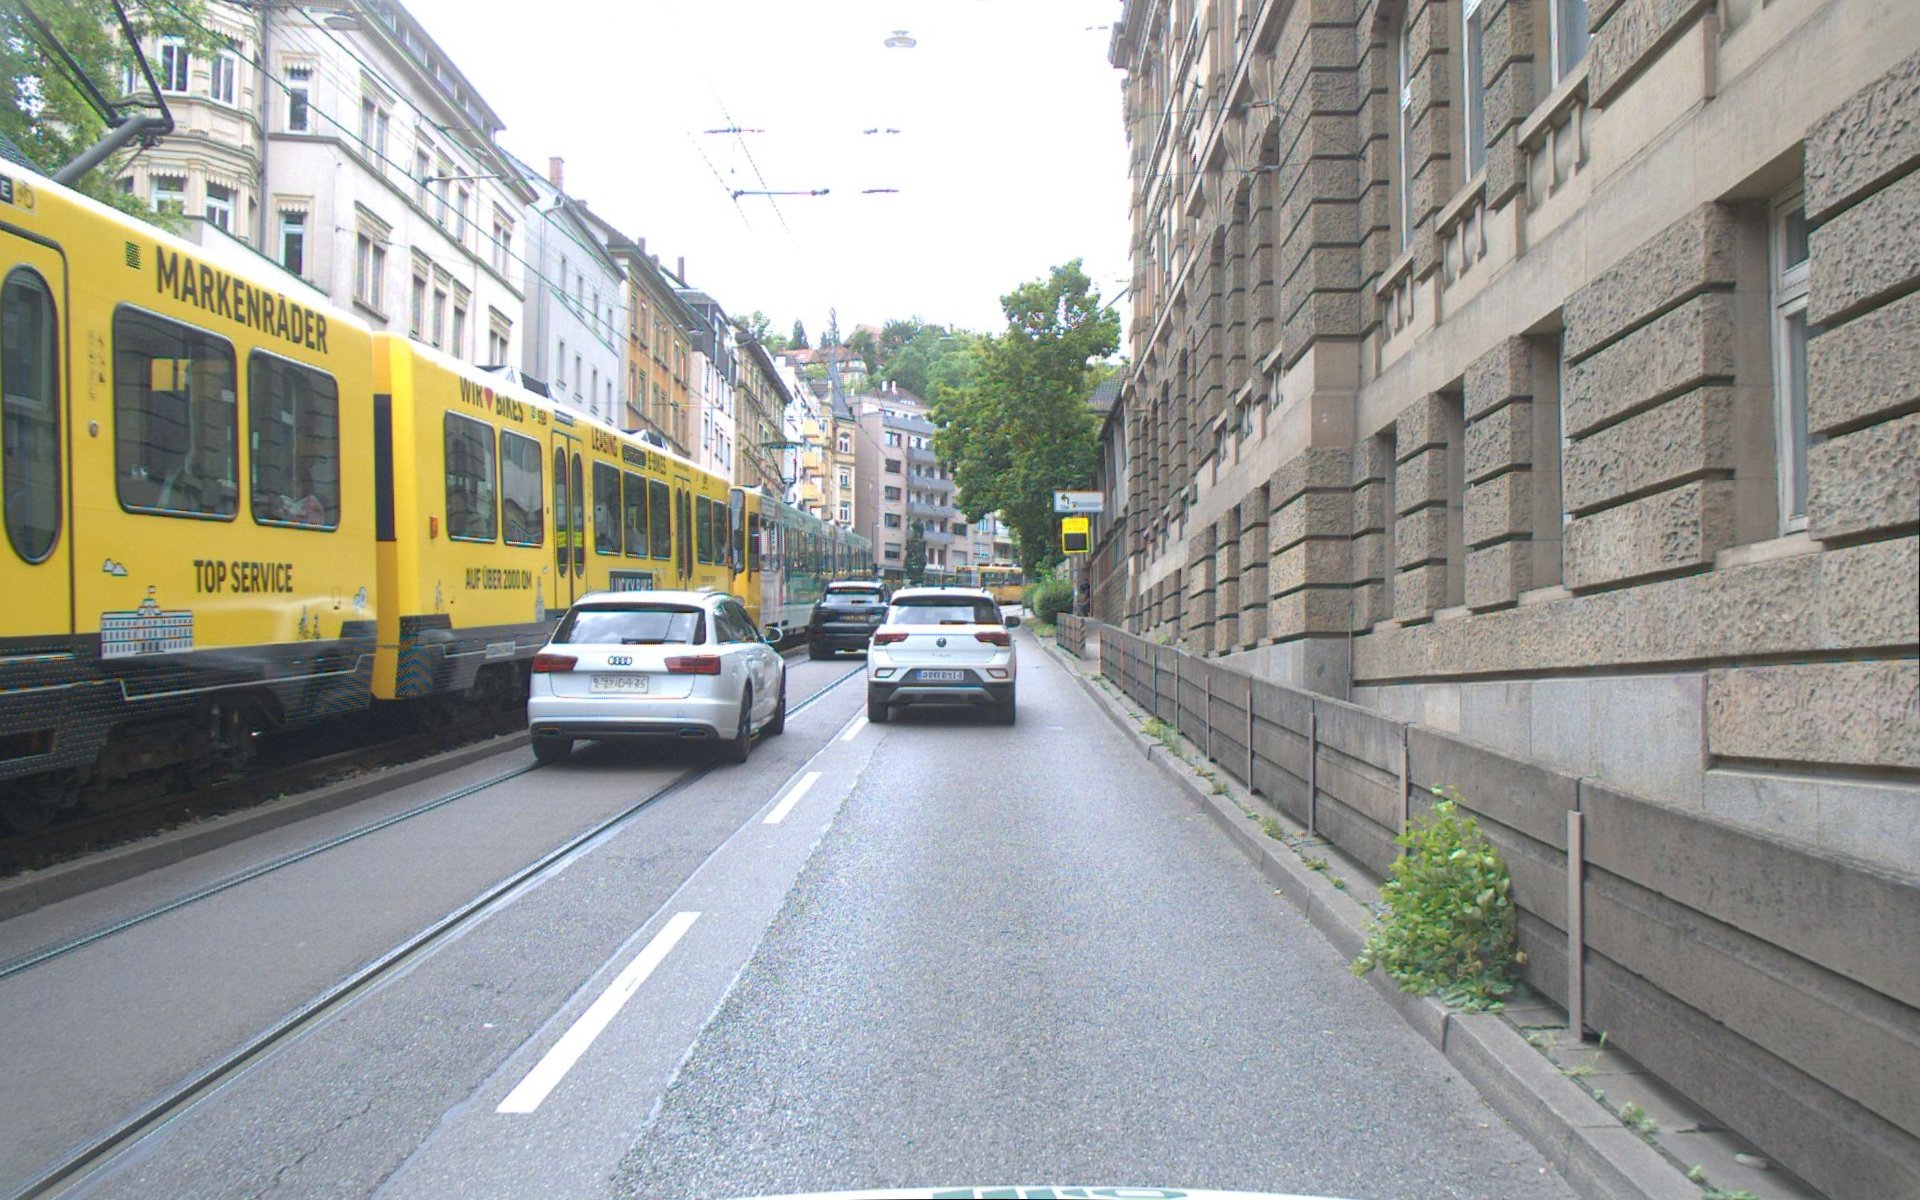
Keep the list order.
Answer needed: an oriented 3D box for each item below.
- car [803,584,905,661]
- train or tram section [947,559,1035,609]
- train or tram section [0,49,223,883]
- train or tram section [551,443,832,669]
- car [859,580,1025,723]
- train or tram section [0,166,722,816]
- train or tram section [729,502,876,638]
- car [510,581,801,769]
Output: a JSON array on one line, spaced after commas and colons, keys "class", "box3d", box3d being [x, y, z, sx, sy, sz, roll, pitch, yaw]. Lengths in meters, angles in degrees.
[{"class": "car", "box3d": [-2.290, 0.456, 36.720, 1.996, 1.599, 4.358, 0, 0, 0]}, {"class": "train or tram section", "box3d": [3.077, -1.439, 153.005, 2.953, 4.287, 18.869, 0, 0, 17]}, {"class": "train or tram section", "box3d": [-5.785, -0.609, 2.249, 2.823, 3.790, 14.855, 2, 0, 0]}, {"class": "train or tram section", "box3d": [-5.353, -0.790, 37.850, 2.817, 3.790, 18.760, 2, 0, 1]}, {"class": "car", "box3d": [-0.163, 0.560, 20.454, 1.840, 1.582, 4.001, 0, 0, 1]}, {"class": "train or tram section", "box3d": [-5.672, -0.709, 19.113, 2.817, 3.790, 18.704, 2, 0, 1]}, {"class": "train or tram section", "box3d": [-4.980, -0.899, 56.621, 2.817, 3.790, 18.758, 2, 0, 1]}, {"class": "car", "box3d": [-2.646, 0.593, 15.484, 1.840, 1.480, 4.617, 1, 0, 0]}]
